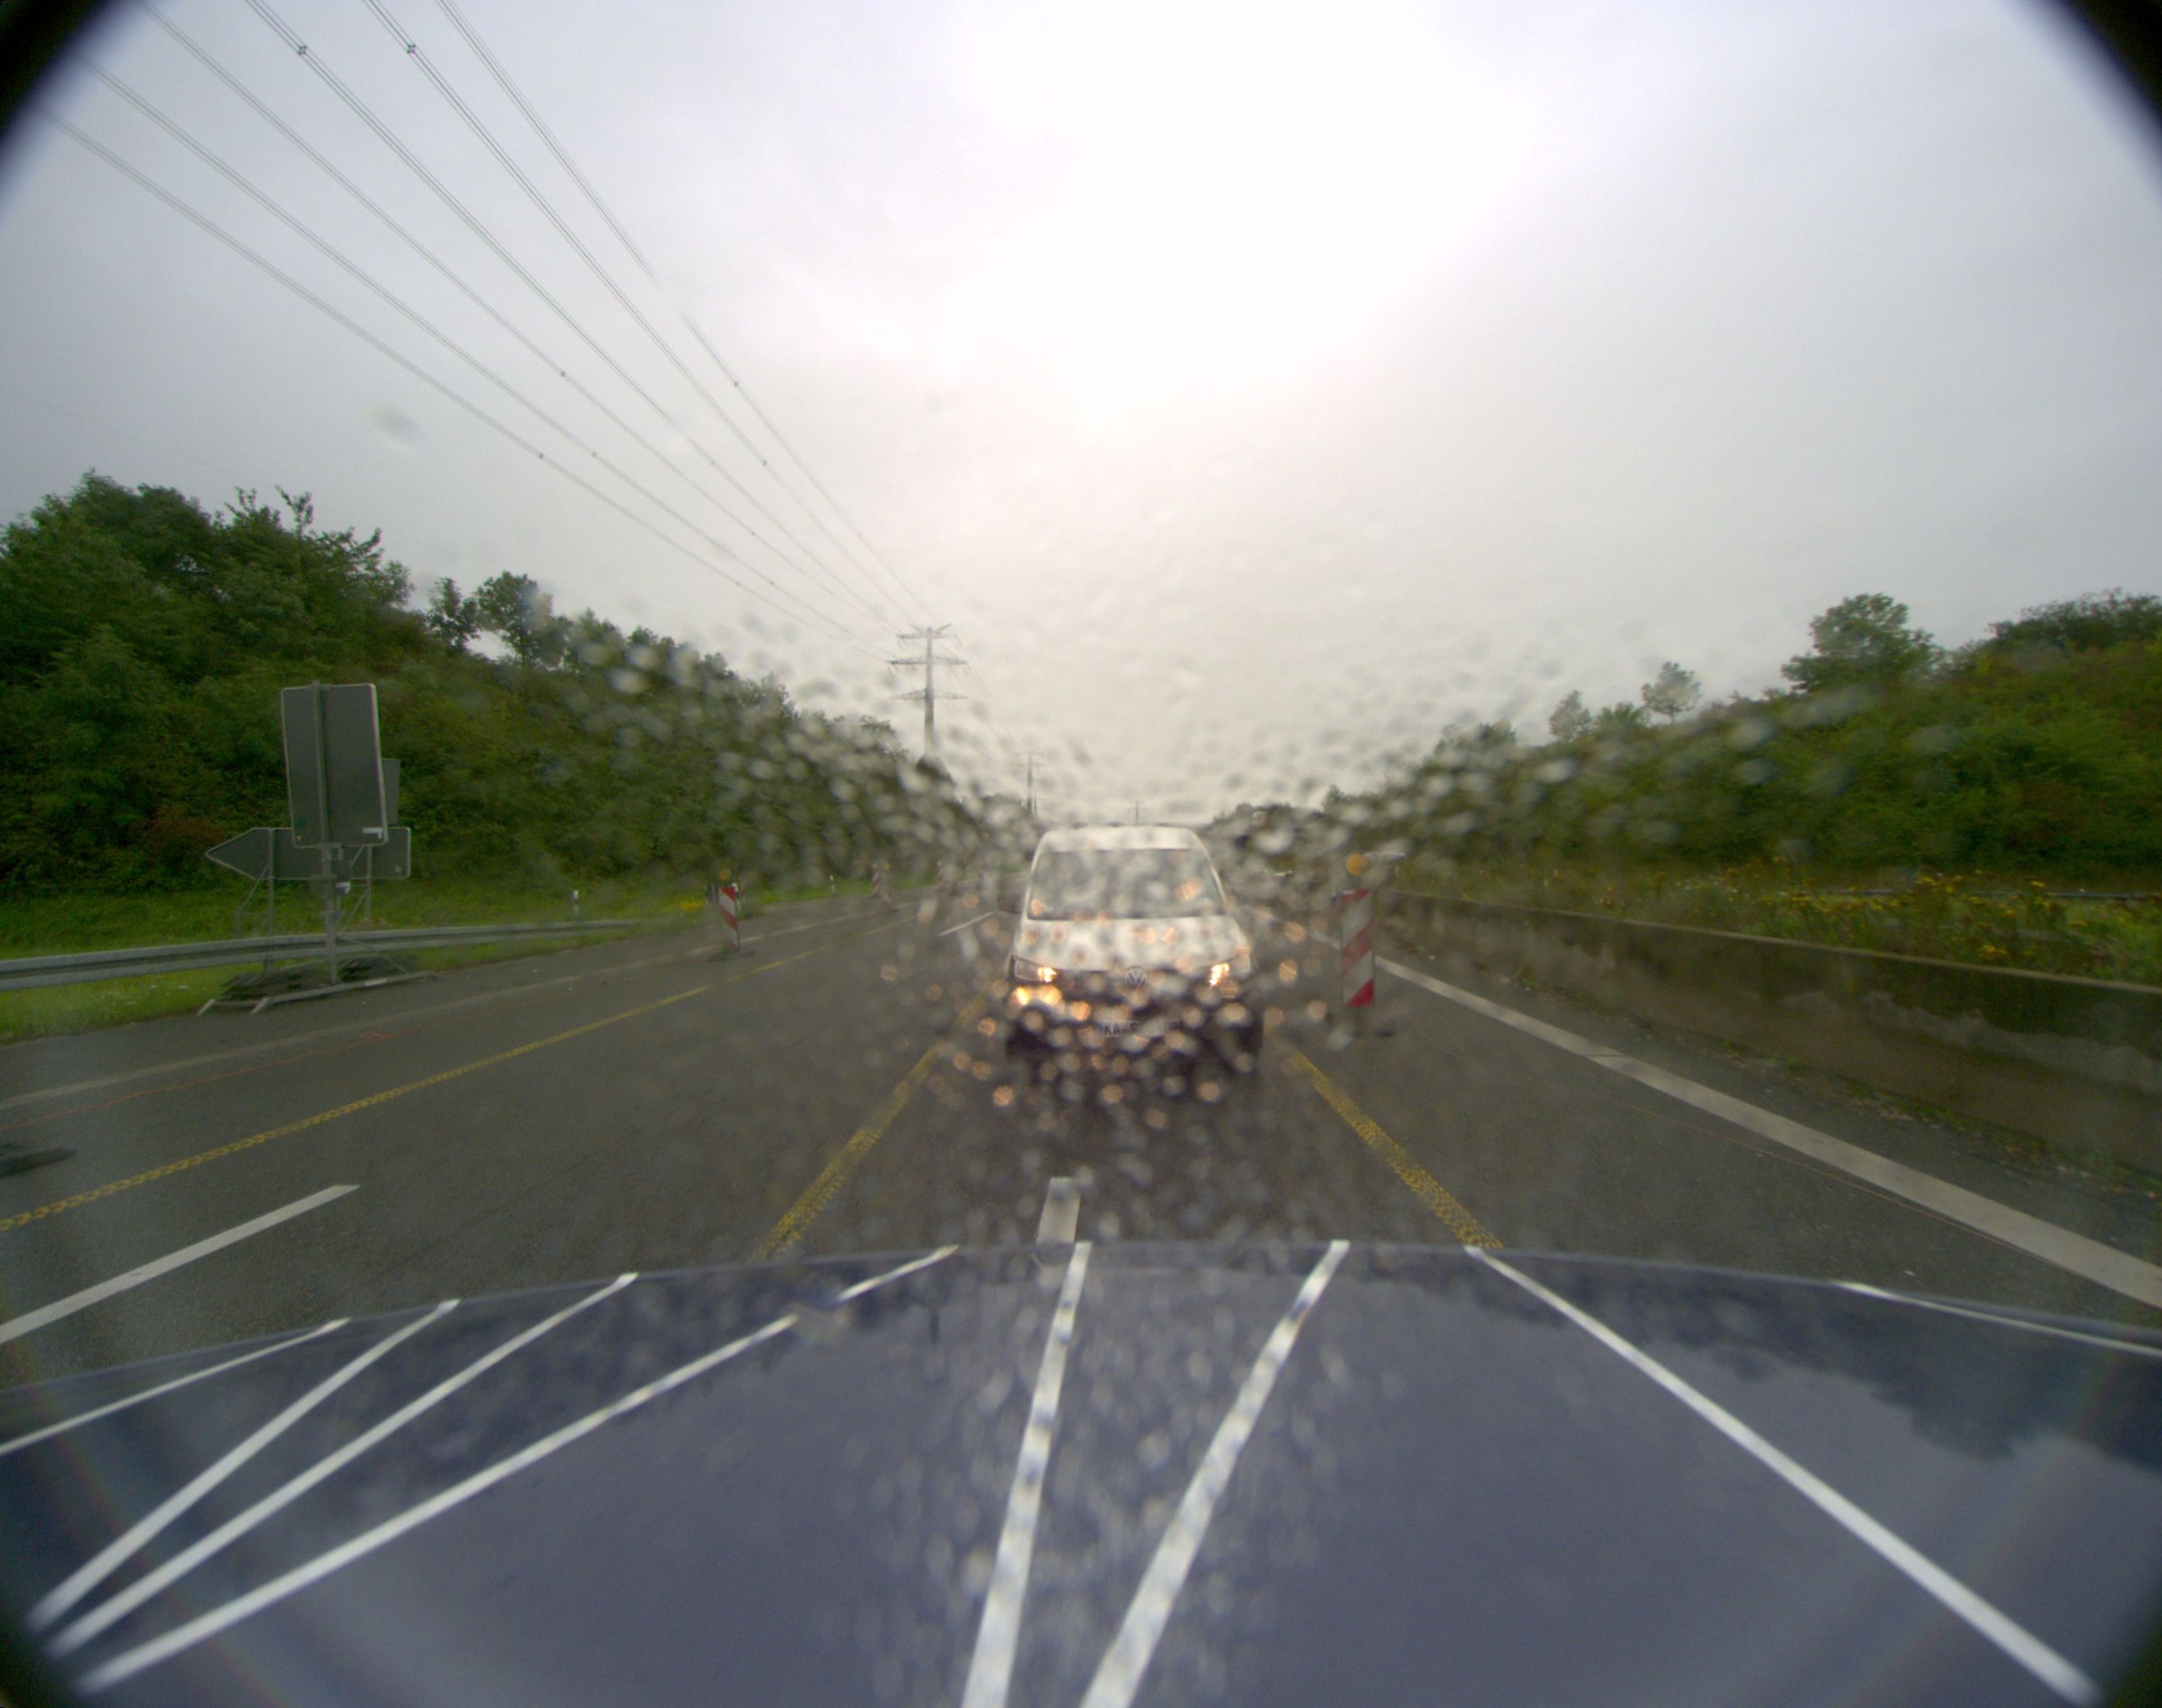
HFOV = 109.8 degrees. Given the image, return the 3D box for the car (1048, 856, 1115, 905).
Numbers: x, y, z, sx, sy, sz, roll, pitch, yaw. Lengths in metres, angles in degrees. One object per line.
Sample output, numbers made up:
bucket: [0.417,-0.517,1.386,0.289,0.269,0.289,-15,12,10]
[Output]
car: [0.106,0.877,26.677,1.874,1.526,4.198,-1,0,7]

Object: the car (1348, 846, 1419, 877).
car: [15.831,0.382,39.999,1.873,1.534,4.747,0,0,0]

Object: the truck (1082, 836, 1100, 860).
truck: [1.735,-1.005,130.763,2.552,3.924,4.002,-2,1,8]

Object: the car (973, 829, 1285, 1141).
car: [0.306,0.772,6.801,1.770,1.774,4.647,-2,0,1]

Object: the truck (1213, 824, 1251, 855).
truck: [23.750,-2.309,120.367,3.414,4.498,17.288,-1,1,3]

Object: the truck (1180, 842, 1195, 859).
truck: [27.661,-0.980,197.535,2.681,4.221,12.517,-2,1,3]
